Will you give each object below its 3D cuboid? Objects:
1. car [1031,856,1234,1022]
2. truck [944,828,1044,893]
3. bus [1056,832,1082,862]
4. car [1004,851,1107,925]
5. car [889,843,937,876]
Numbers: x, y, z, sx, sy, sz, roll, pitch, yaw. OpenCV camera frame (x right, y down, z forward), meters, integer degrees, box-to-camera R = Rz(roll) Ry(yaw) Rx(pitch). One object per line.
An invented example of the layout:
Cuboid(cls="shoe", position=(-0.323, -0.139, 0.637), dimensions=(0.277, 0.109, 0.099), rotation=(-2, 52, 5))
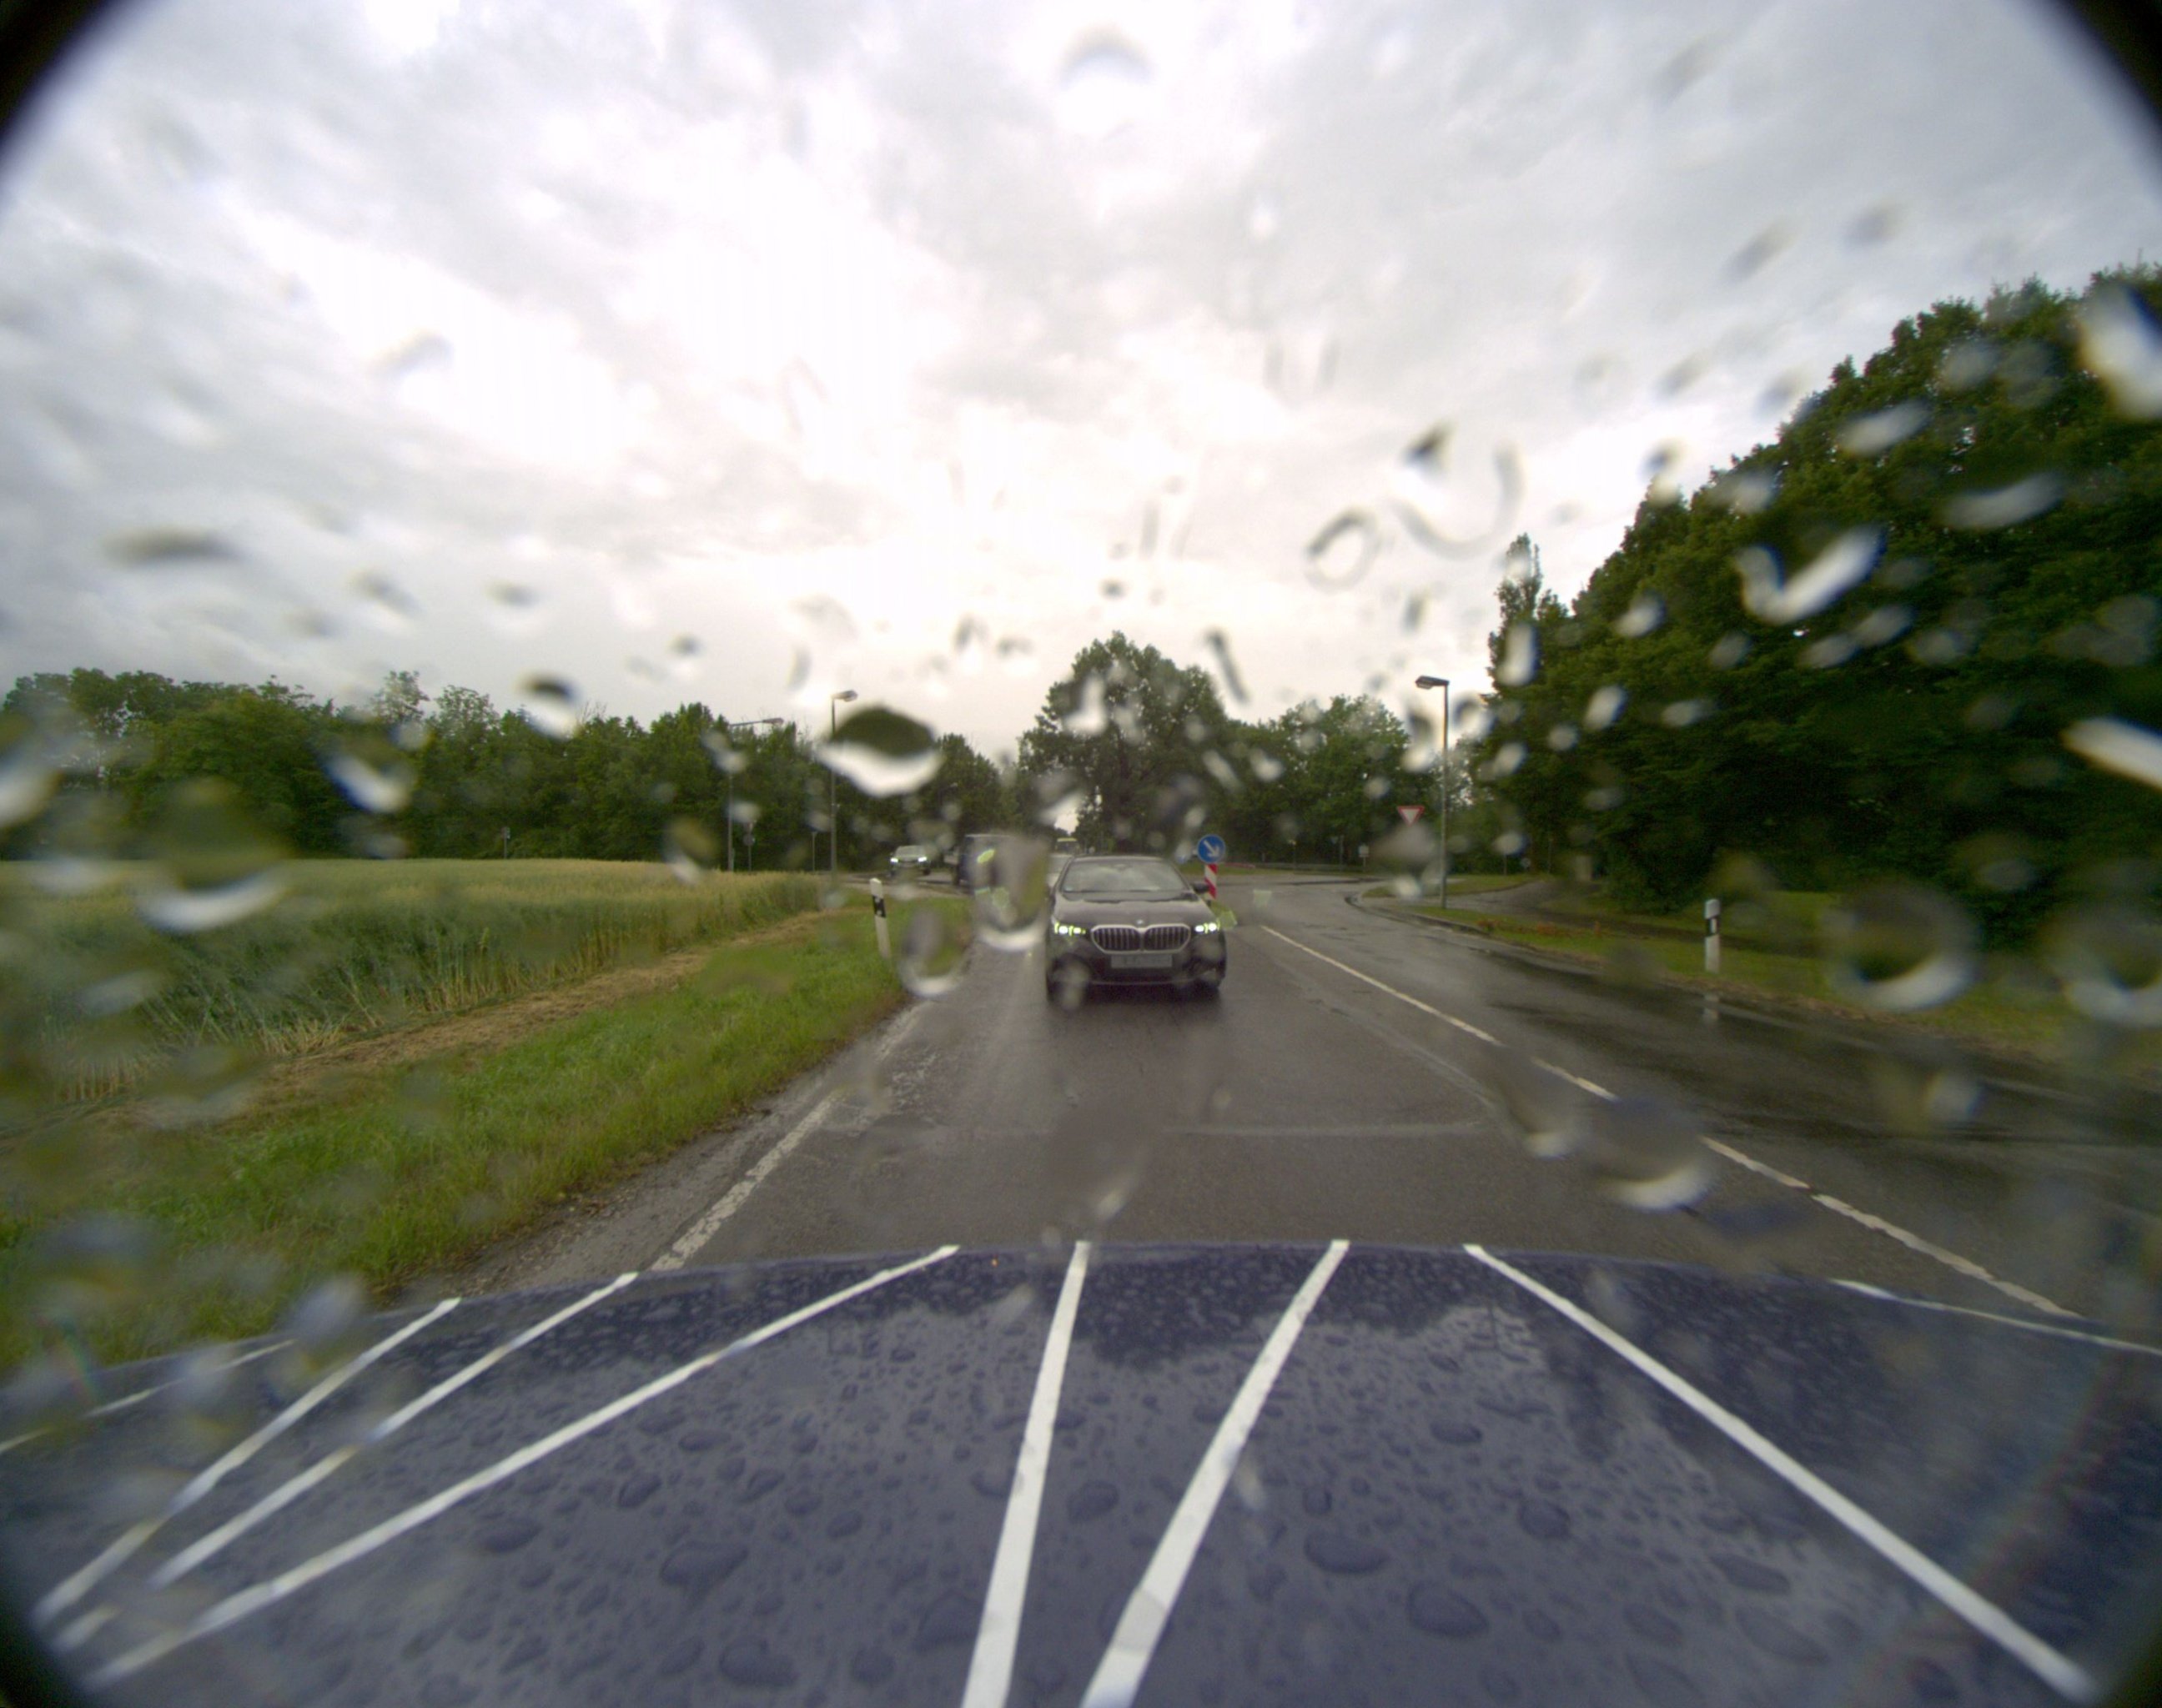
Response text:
Cuboid(cls="car", position=(0.439, 0.805, 9.169), dimensions=(1.892, 1.484, 4.034), rotation=(-1, 0, -1))
Cuboid(cls="truck", position=(-3.301, 0.138, 27.519), dimensions=(2.079, 2.050, 5.757), rotation=(-2, 2, -22))
Cuboid(cls="bus", position=(-1.504, -0.939, 100.335), dimensions=(2.996, 3.665, 14.293), rotation=(1, 0, 1))
Cuboid(cls="car", position=(-0.739, 0.714, 18.306), dimensions=(1.893, 1.482, 4.187), rotation=(-1, 1, -10))
Cuboid(cls="car", position=(-8.485, 0.253, 38.776), dimensions=(1.893, 1.522, 5.252), rotation=(-1, 0, -7))
